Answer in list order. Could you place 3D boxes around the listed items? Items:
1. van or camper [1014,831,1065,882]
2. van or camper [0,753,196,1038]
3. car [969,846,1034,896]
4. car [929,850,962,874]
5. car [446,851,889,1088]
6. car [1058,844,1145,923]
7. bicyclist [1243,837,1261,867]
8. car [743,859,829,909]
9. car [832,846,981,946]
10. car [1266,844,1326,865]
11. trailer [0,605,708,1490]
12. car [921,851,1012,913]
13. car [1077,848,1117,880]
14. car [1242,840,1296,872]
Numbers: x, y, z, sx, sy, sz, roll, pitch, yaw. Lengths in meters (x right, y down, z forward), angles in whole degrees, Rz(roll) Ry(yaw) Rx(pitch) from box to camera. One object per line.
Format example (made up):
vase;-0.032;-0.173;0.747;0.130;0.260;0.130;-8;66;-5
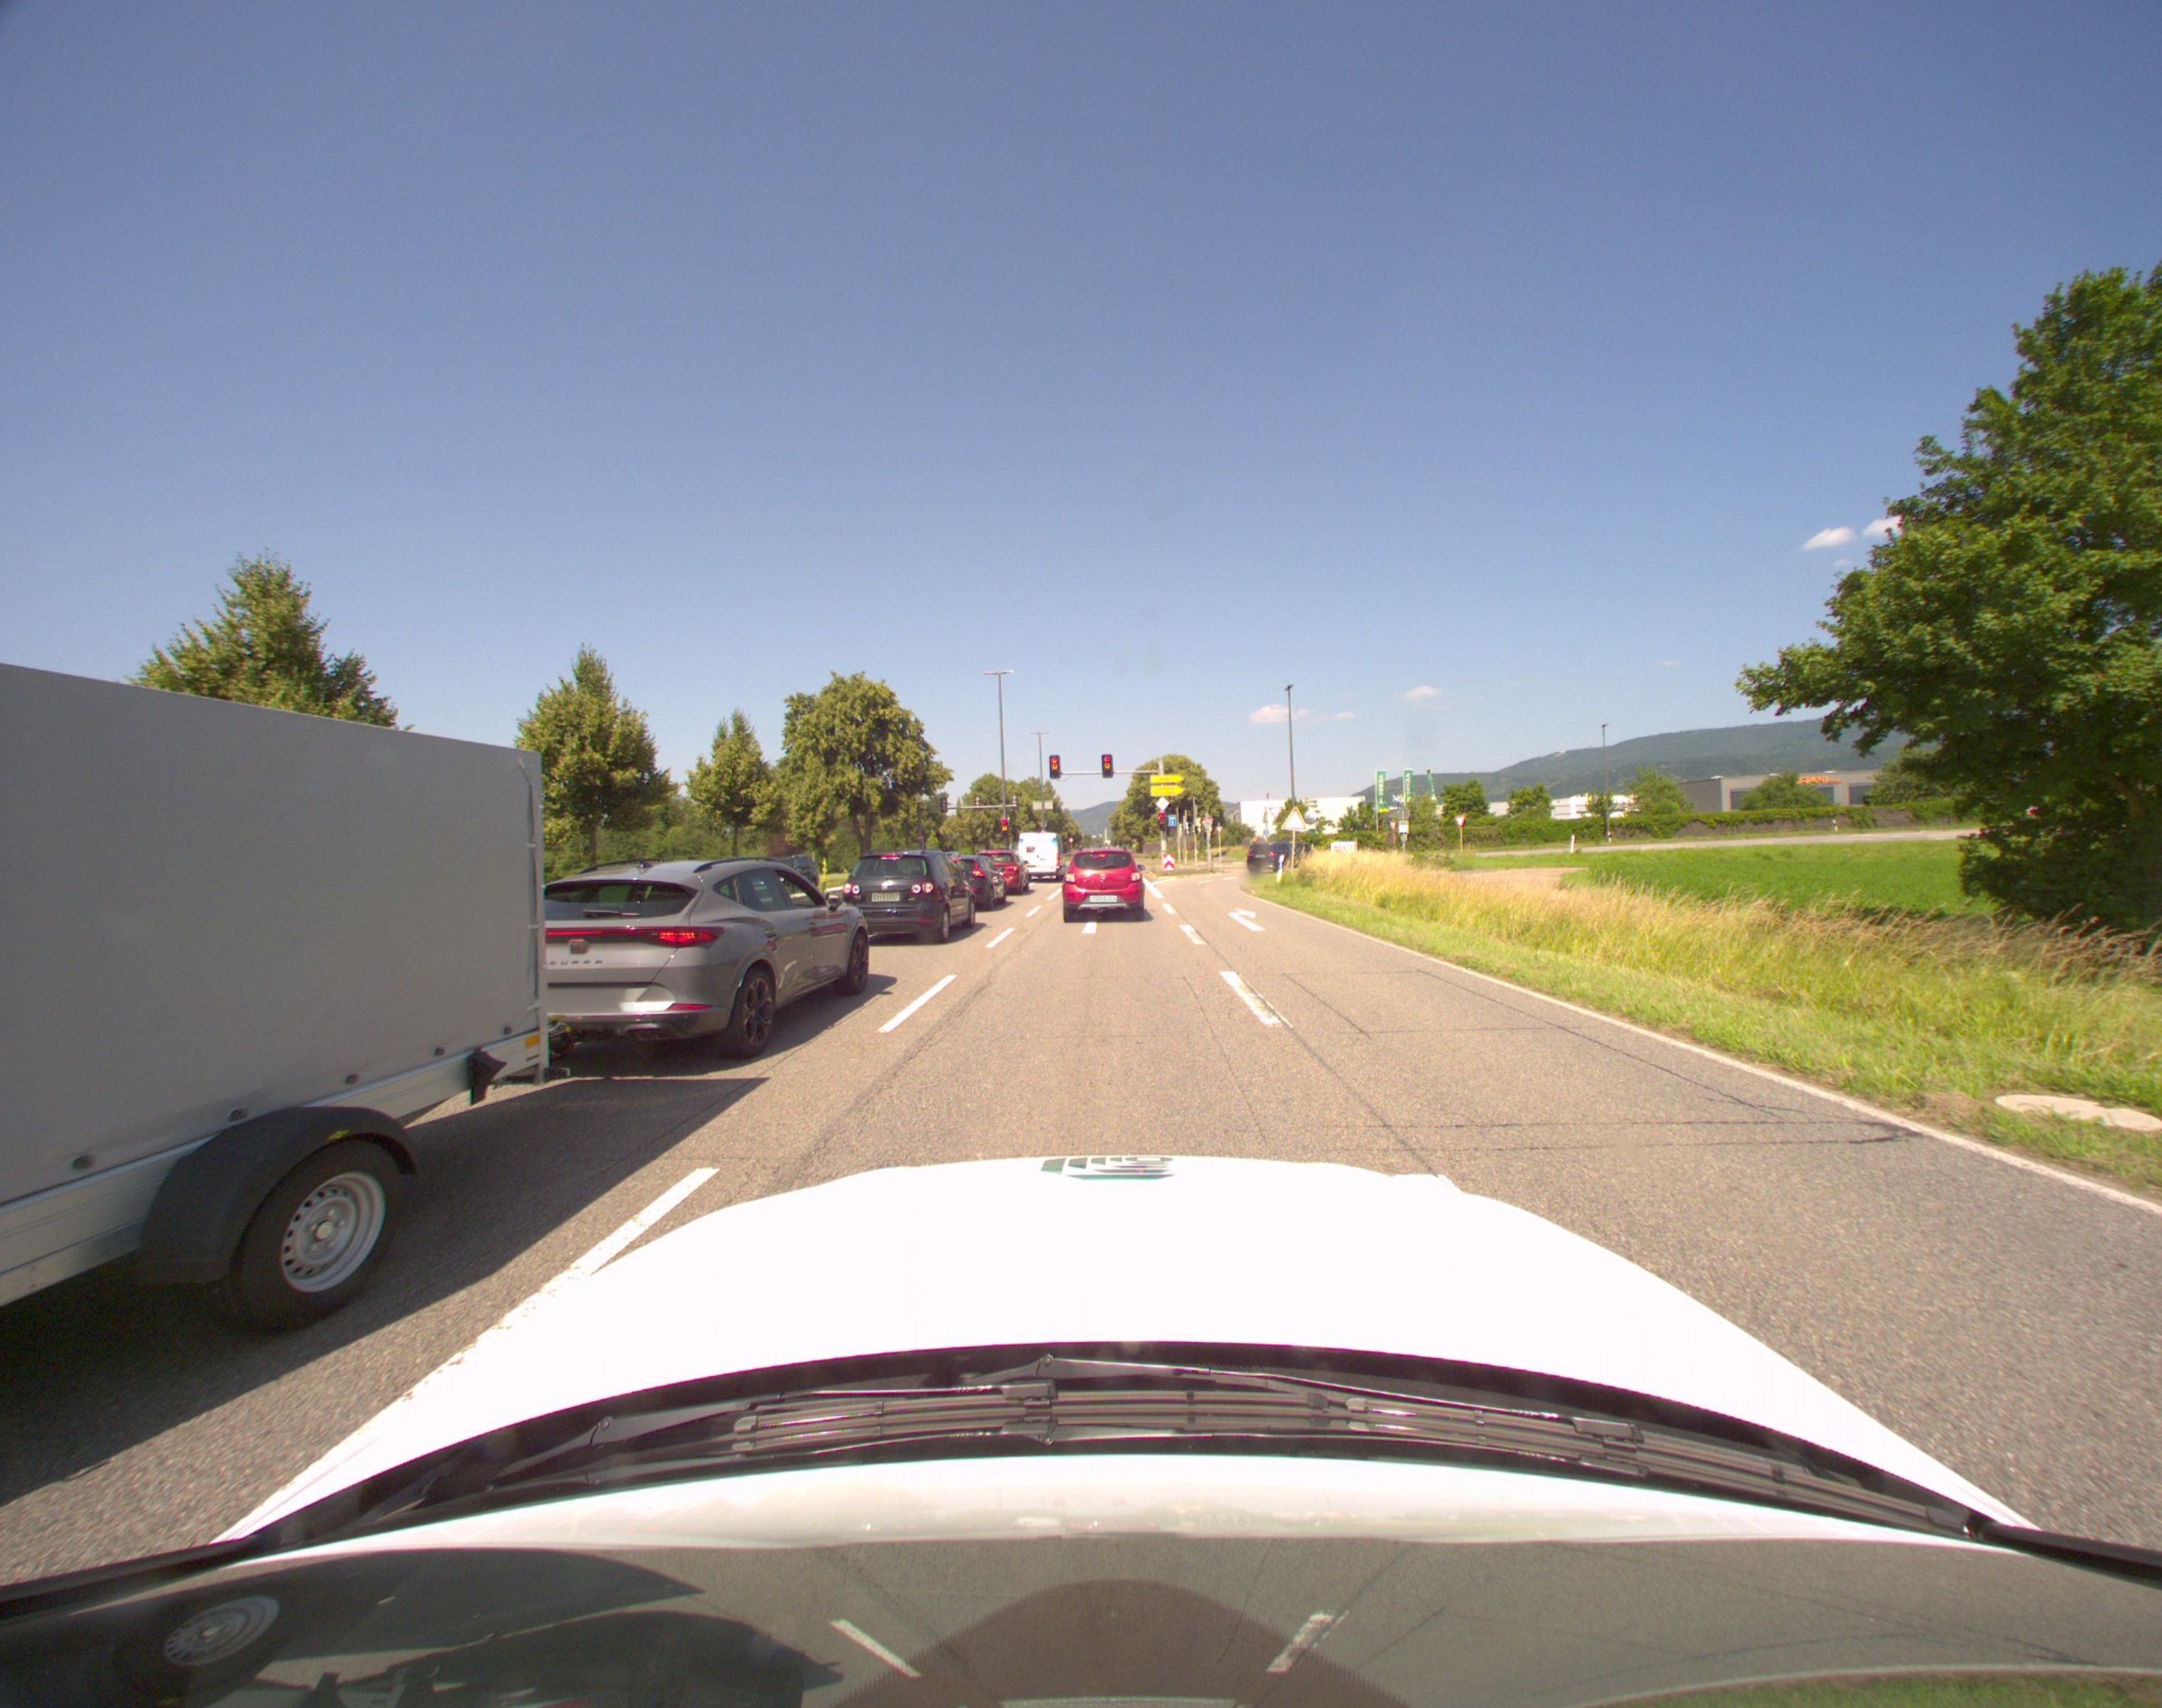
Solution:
van or camper;-1.918;0.101;39.194;2.172;2.302;4.825;-1;0;0
van or camper;-12.910;0.505;7.893;2.255;3.099;5.696;-2;0;1
car;-2.732;0.539;28.822;1.717;1.600;3.958;-1;0;3
car;-12.123;0.684;73.114;1.987;1.931;5.016;-2;0;1
car;-3.235;0.756;7.538;1.739;1.503;4.365;-1;0;2
car;0.538;0.591;18.355;1.742;1.575;3.680;-1;0;4
bicyclist;10.219;-0.119;48.571;0.801;1.771;0.807;-2;0;-5
car;-12.559;1.235;34.969;1.851;1.855;4.697;-2;0;1
car;-3.018;0.656;14.907;1.716;1.575;3.895;0;1;3
car;15.304;0.051;58.155;3.964;1.327;1.811;-2;1;8
trailer;-3.366;0.470;3.441;1.495;2.173;4.176;-1;0;2
car;-2.956;0.688;21.809;1.695;1.442;3.958;-1;1;3
car;0.837;0.453;39.439;1.742;1.458;3.680;-1;1;4
car;10.001;0.087;43.081;1.976;1.616;4.364;-1;0;24
